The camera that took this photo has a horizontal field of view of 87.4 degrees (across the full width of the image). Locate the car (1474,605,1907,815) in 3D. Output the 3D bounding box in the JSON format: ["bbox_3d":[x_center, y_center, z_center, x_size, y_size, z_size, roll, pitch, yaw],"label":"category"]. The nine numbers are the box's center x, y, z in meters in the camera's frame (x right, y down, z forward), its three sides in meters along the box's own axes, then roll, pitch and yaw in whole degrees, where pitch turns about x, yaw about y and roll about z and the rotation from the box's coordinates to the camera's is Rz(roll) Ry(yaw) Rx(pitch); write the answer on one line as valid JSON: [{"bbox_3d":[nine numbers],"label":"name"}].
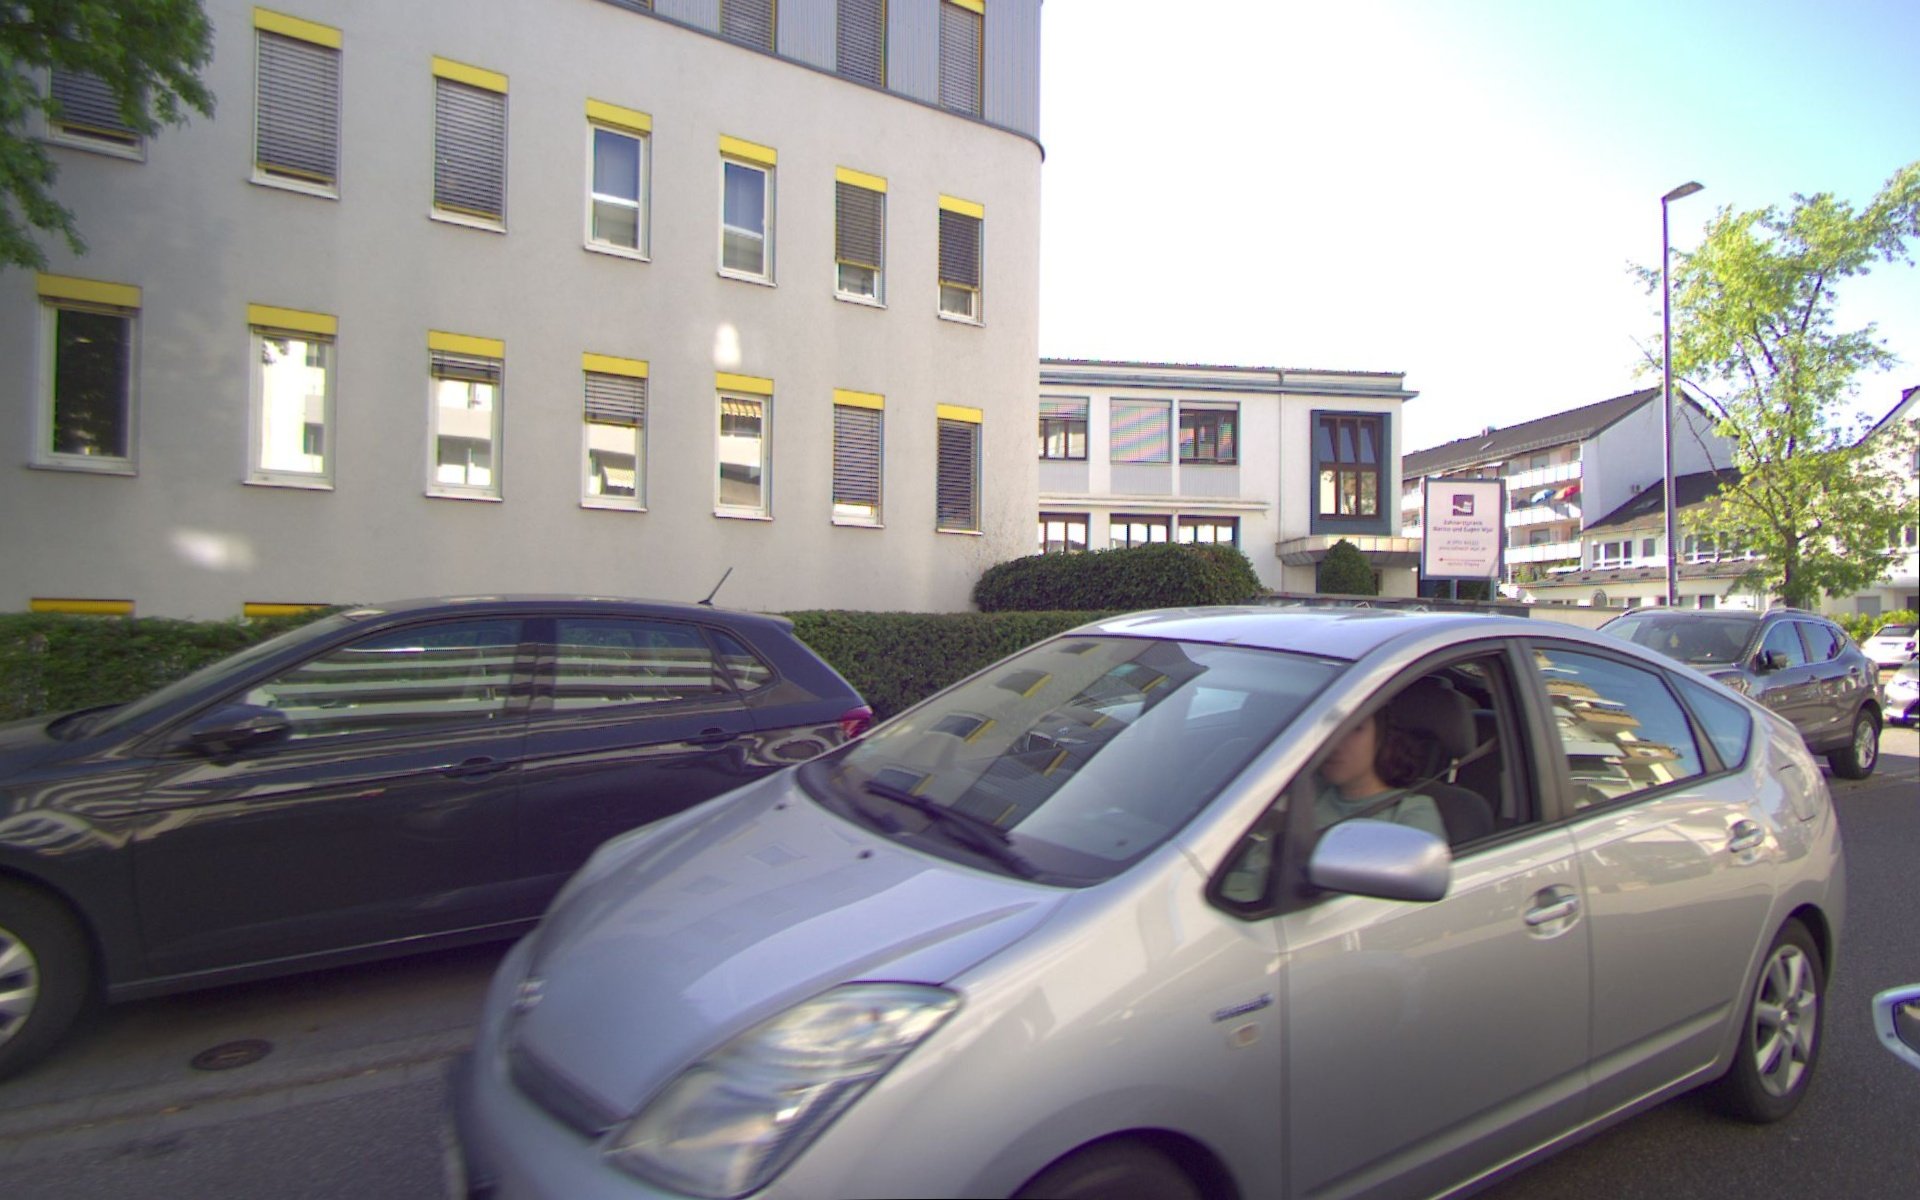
[{"bbox_3d":[6.994,0.898,9.519,4.369,1.607,1.712,1,-1,-30],"label":"car"}]

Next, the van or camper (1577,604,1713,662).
[{"bbox_3d":[31.088,1.560,45.823,2.111,2.429,5.229,2,-3,-9],"label":"van or camper"}]

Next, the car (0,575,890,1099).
[{"bbox_3d":[-2.390,0.689,3.942,3.958,1.459,1.588,2,-1,-34],"label":"car"}]

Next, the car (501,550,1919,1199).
[{"bbox_3d":[0.951,0.748,2.966,4.057,1.505,1.718,1,-1,-30],"label":"car"}]

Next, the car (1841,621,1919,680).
[{"bbox_3d":[27.468,1.477,28.724,3.130,1.576,1.804,3,-3,-7],"label":"car"}]

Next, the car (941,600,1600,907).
[{"bbox_3d":[2.196,0.801,6.724,4.386,1.484,1.718,1,-1,-30],"label":"car"}]

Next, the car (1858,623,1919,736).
[{"bbox_3d":[15.449,1.131,14.853,4.863,1.555,1.983,1,-1,-32],"label":"car"}]
